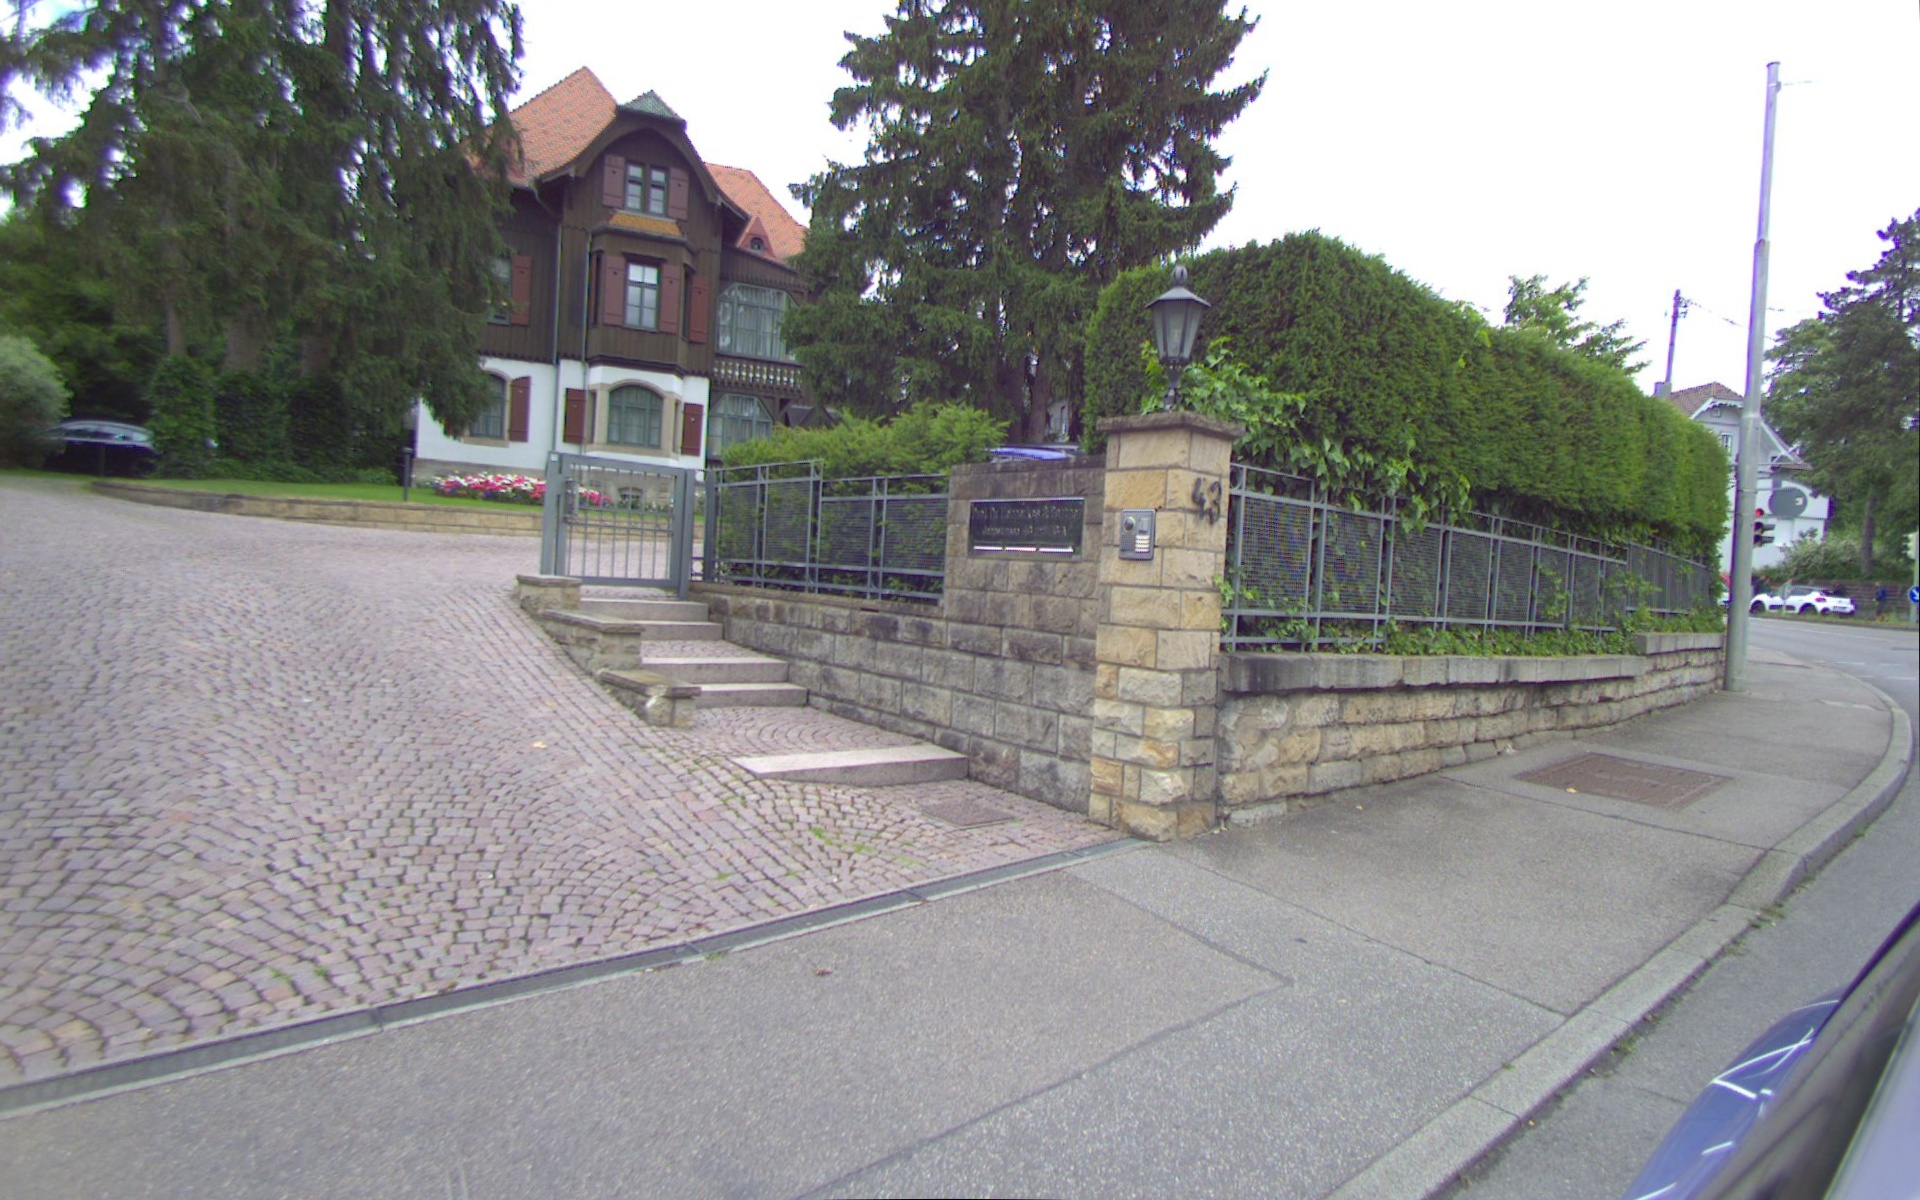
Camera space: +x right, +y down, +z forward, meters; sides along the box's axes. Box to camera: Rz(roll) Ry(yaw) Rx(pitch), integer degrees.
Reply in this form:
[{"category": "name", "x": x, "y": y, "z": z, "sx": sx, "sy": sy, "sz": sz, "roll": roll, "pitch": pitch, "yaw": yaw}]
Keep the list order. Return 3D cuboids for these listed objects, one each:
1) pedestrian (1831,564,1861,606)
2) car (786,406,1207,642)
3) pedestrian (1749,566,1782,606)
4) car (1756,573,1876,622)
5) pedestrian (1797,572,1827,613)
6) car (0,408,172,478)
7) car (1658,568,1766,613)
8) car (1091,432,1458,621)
[{"category": "pedestrian", "x": 40.013, "y": -0.676, "z": 45.708, "sx": 0.591, "sy": 1.856, "sz": 0.614, "roll": 3, "pitch": 3, "yaw": -14}, {"category": "car", "x": 0.177, "y": -0.888, "z": 10.329, "sx": 1.965, "sy": 1.628, "sz": 4.004, "roll": 0, "pitch": 12, "yaw": -41}, {"category": "pedestrian", "x": 38.017, "y": -0.669, "z": 47.742, "sx": 0.862, "sy": 1.836, "sz": 0.690, "roll": 3, "pitch": 3, "yaw": -12}, {"category": "car", "x": 35.873, "y": -0.160, "z": 42.550, "sx": 1.669, "sy": 1.455, "sz": 3.762, "roll": 4, "pitch": 8, "yaw": 1}, {"category": "pedestrian", "x": 38.701, "y": -0.347, "z": 45.982, "sx": 0.600, "sy": 1.809, "sz": 0.668, "roll": 3, "pitch": 3, "yaw": -16}, {"category": "car", "x": -20.808, "y": -3.678, "z": 23.710, "sx": 3.342, "sy": 1.248, "sz": 1.477, "roll": 5, "pitch": 4, "yaw": -19}, {"category": "car", "x": 30.740, "y": -0.450, "z": 41.519, "sx": 1.590, "sy": 1.599, "sz": 3.998, "roll": 2, "pitch": 3, "yaw": 5}, {"category": "car", "x": 3.703, "y": -0.979, "z": 12.445, "sx": 1.782, "sy": 1.628, "sz": 3.756, "roll": 0, "pitch": 12, "yaw": -41}]
